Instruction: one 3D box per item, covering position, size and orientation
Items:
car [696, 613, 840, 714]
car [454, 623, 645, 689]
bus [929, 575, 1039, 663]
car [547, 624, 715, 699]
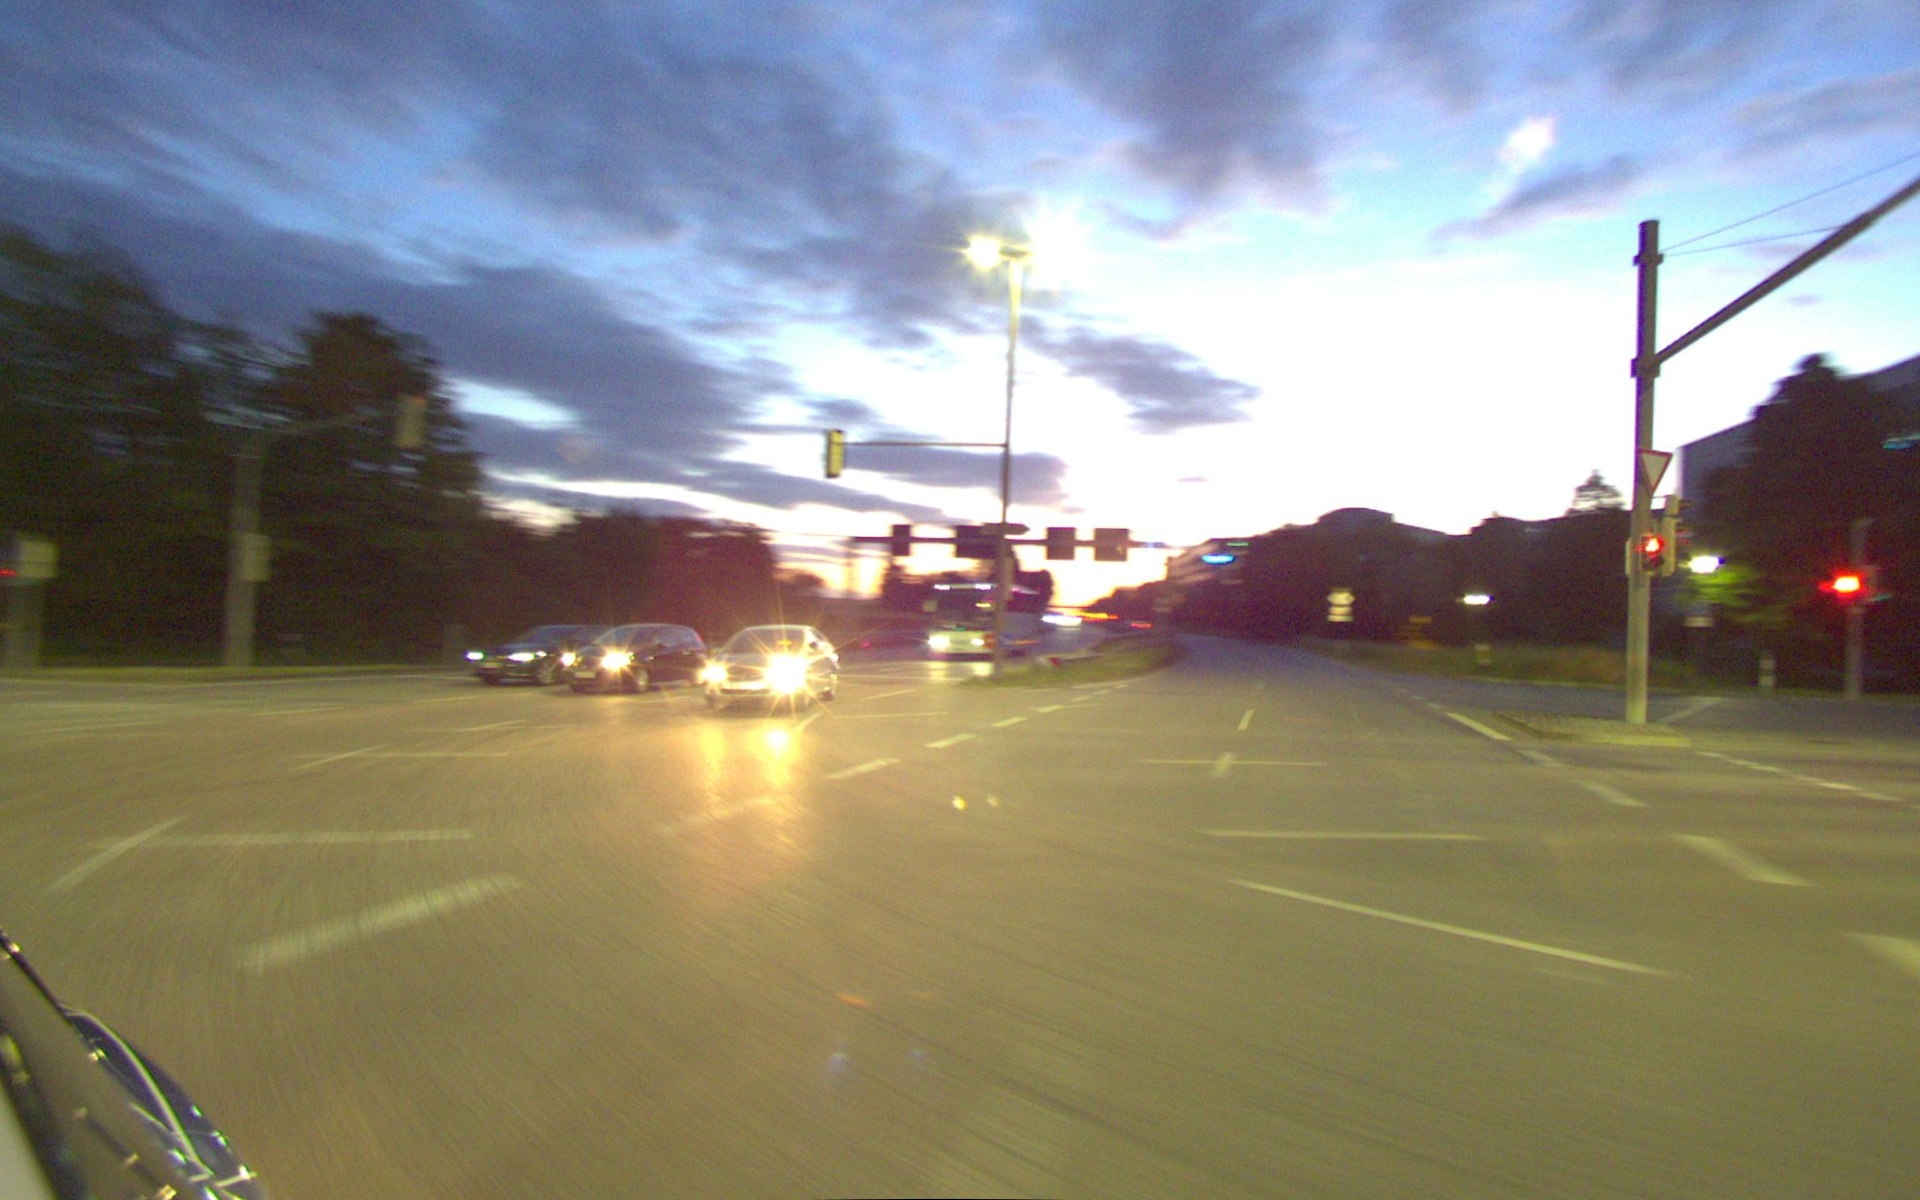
[{"bbox_3d":[-3.418,1.105,18.839,1.649,1.665,4.406,0,-2,3],"label":"car"},{"bbox_3d":[-9.946,1.315,24.915,1.783,1.454,4.502,-1,-2,21],"label":"car"},{"bbox_3d":[1.483,0.969,49.926,2.592,3.819,12.213,0,-1,15],"label":"bus"},{"bbox_3d":[-7.170,1.297,22.456,1.657,1.492,3.754,0,-2,18],"label":"car"}]
